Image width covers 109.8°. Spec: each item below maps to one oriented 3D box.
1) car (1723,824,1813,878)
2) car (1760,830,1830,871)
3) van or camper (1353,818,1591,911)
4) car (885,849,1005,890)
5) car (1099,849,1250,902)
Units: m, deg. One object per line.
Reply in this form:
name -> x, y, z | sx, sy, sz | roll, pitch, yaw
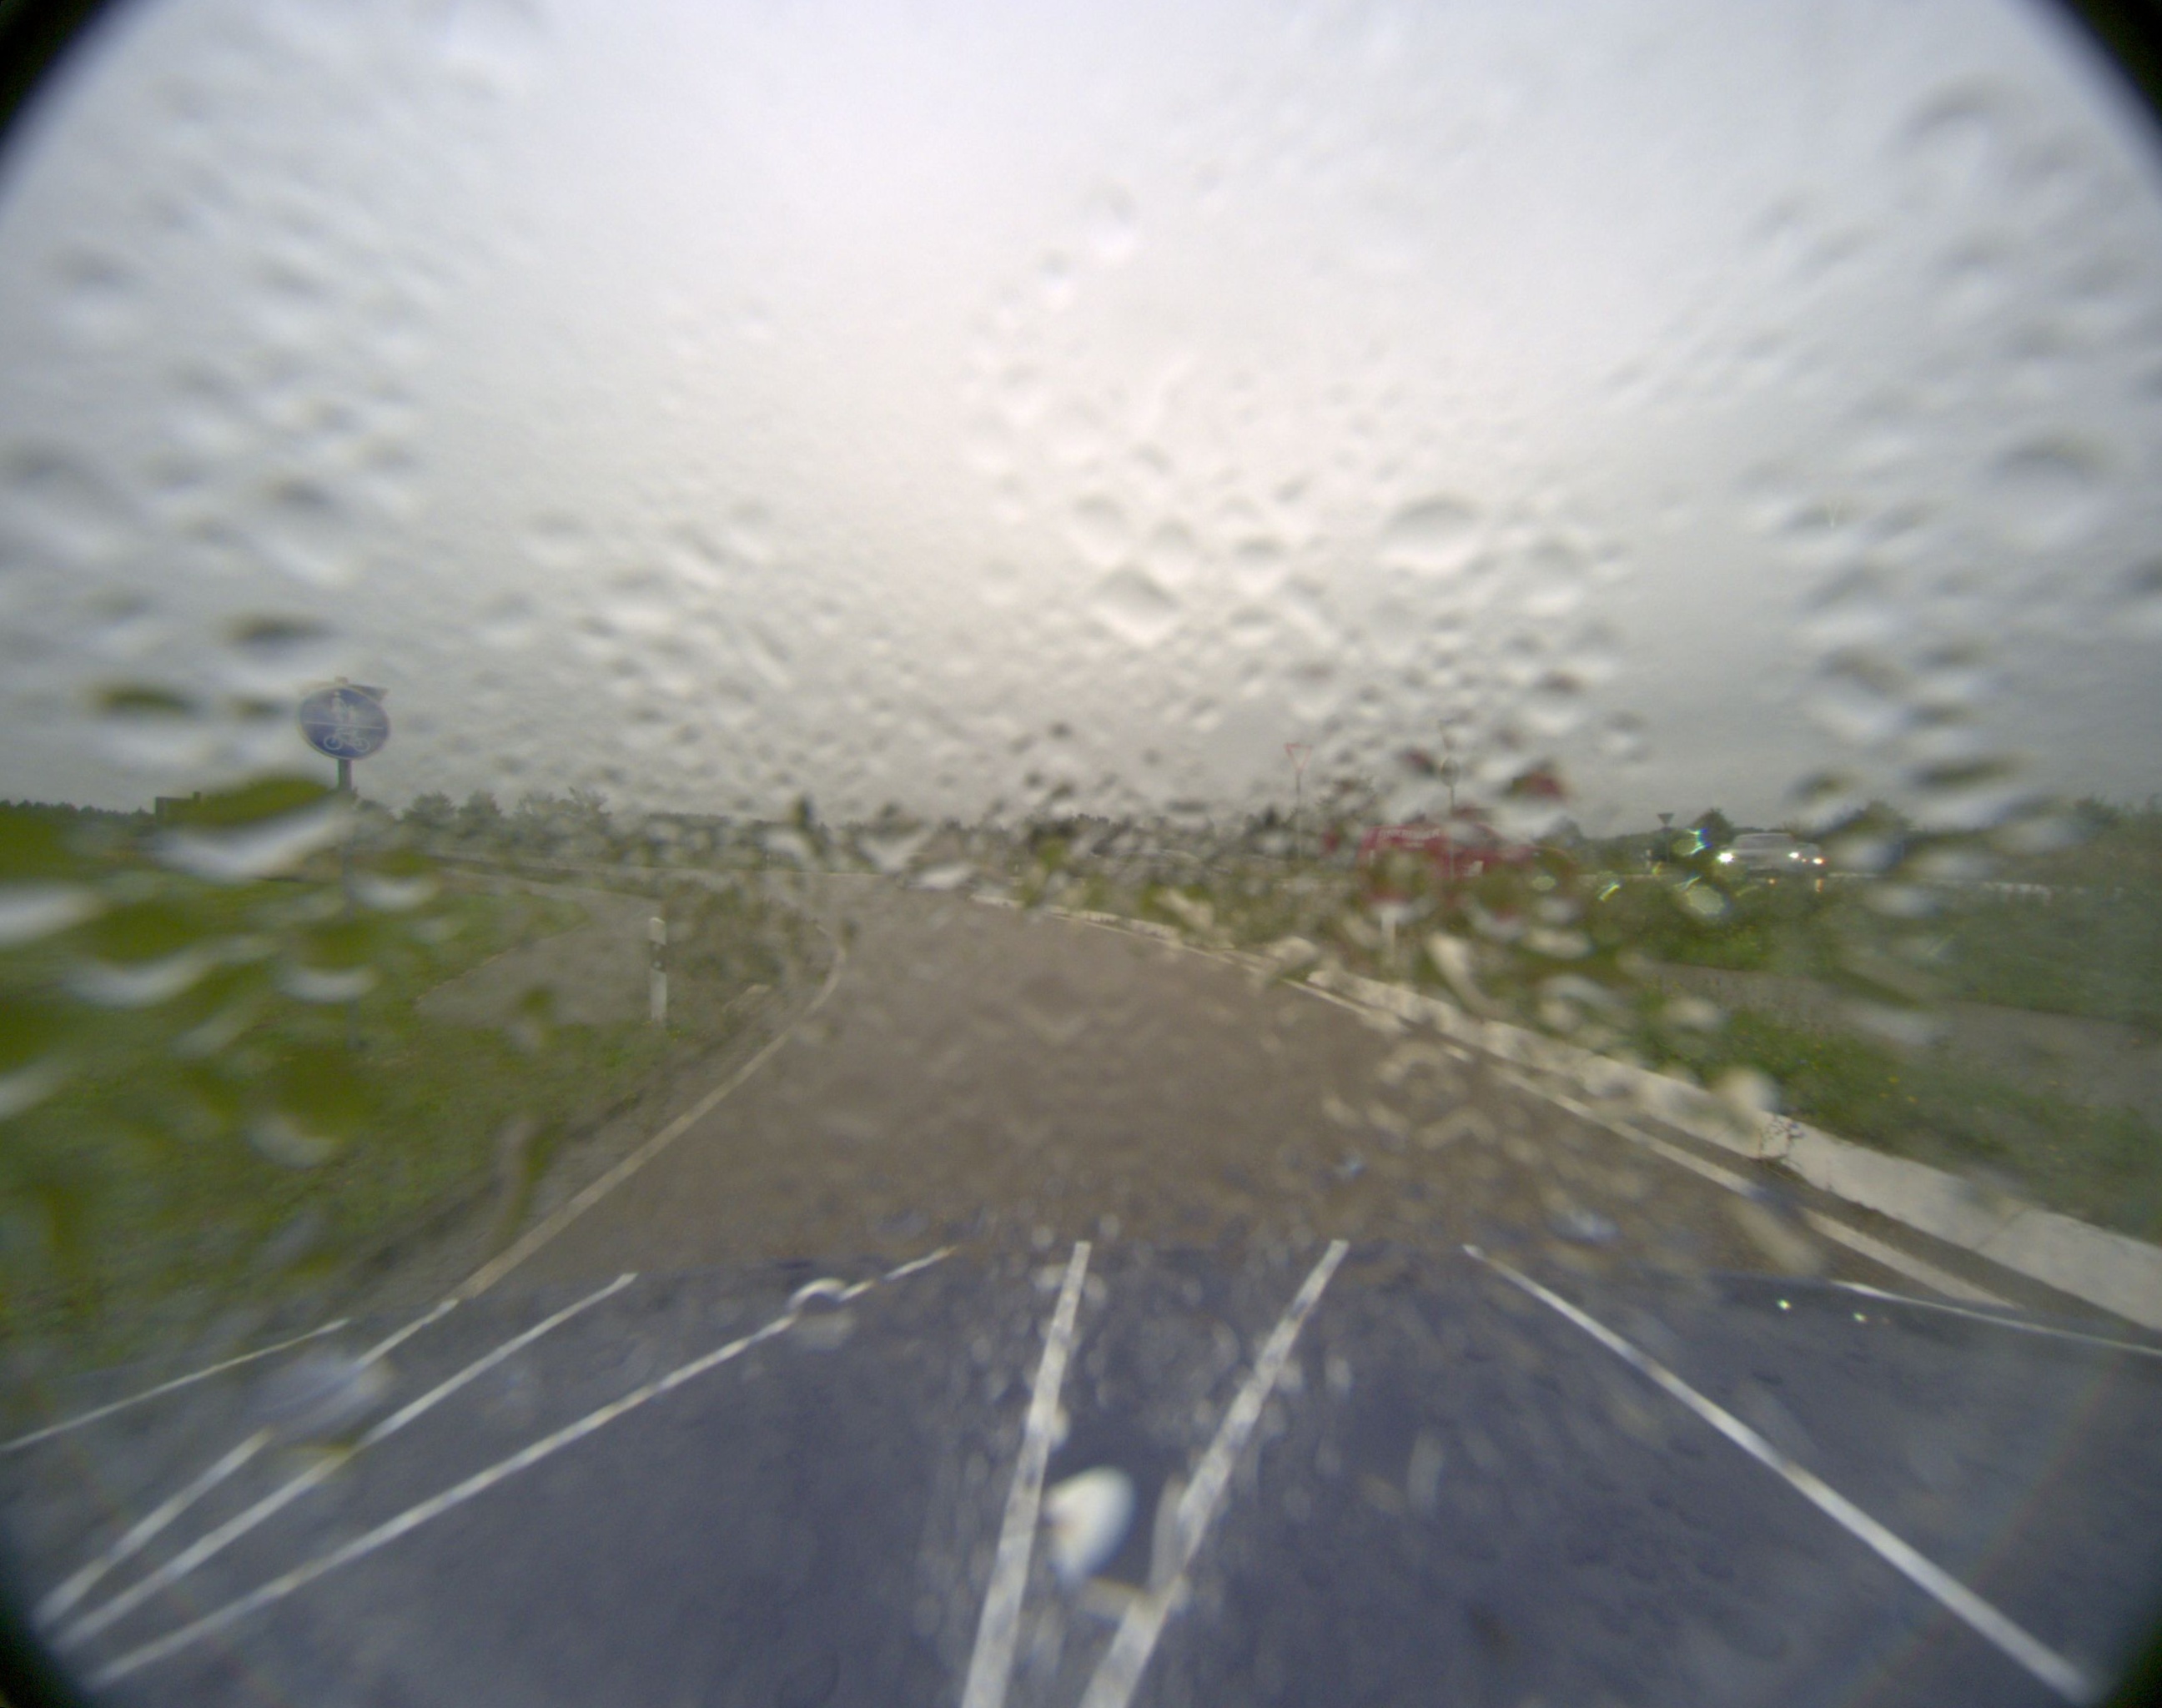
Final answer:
car -> 21.882, -0.116, 24.313 | 1.994, 1.565, 4.509 | -1, 1, 41
car -> 29.936, -0.140, 31.811 | 4.008, 1.580, 1.821 | -1, -1, -43
van or camper -> 9.533, 0.185, 18.833 | 2.004, 2.002, 4.833 | -4, 3, -43
car -> -5.533, 0.585, 30.751 | 4.649, 1.473, 2.004 | 1, 2, 34
car -> 3.011, 0.647, 24.910 | 4.511, 1.593, 2.004 | 0, 0, 36
